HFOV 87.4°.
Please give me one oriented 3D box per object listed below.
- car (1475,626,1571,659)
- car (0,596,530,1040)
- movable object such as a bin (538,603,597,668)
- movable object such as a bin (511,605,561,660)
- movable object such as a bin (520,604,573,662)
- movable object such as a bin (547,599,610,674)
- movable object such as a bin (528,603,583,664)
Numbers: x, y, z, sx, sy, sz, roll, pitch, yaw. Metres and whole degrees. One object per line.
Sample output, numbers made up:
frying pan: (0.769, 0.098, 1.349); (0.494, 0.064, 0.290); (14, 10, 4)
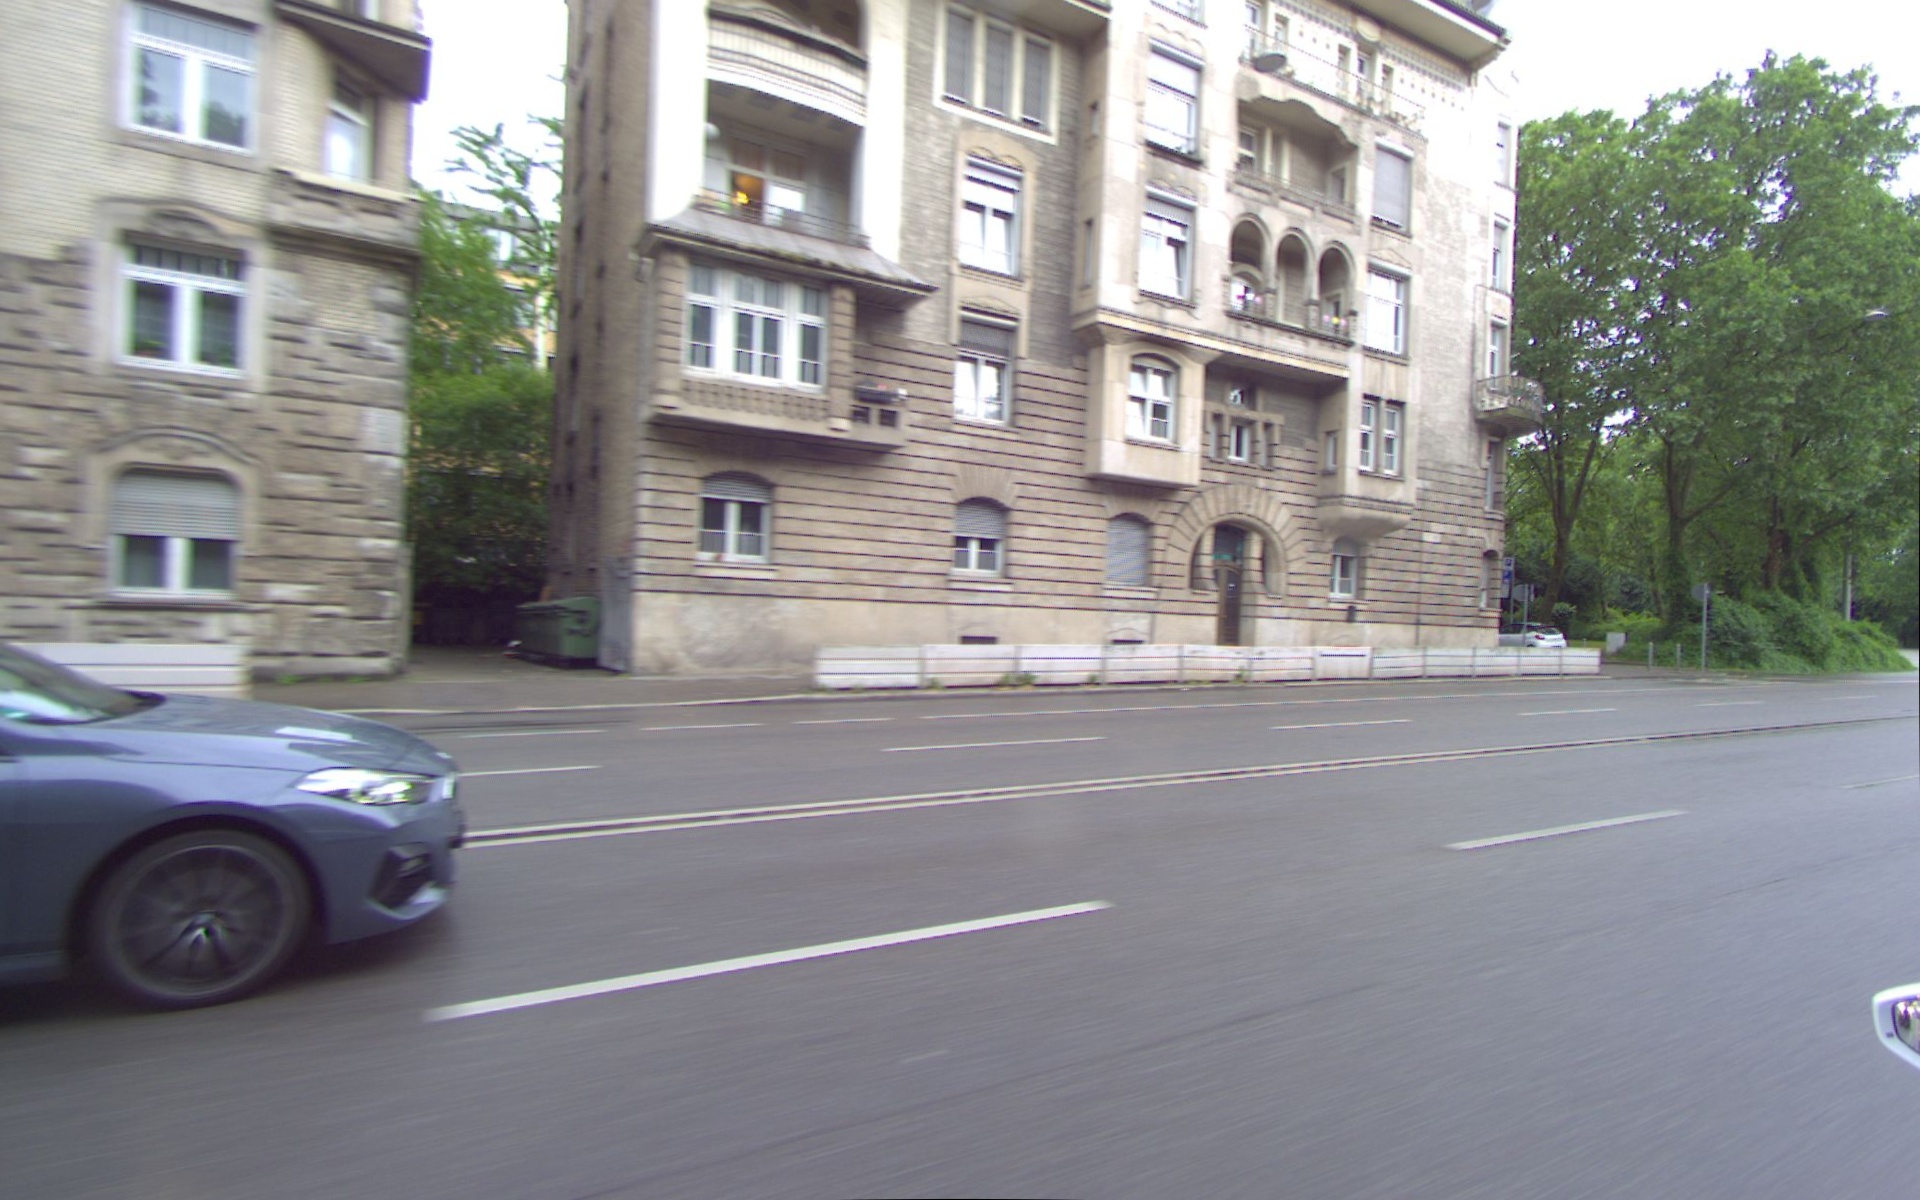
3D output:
car: (25.116, 1.867, 44.939); (1.752, 1.394, 3.490); (0, -1, -20)
car: (-4.089, 0.690, 3.615); (4.487, 1.434, 1.657); (2, -1, -31)
movable object such as a bin: (-8.577, 0.764, 21.940); (1.011, 1.350, 1.019); (-2, 1, -32)
movable object such as a bin: (-10.832, 0.813, 25.659); (1.011, 1.350, 1.019); (-2, 1, -32)
movable object such as a bin: (-10.114, 0.793, 24.557); (1.011, 1.350, 1.019); (-2, 1, -32)
movable object such as a bin: (-7.831, 0.728, 20.612); (1.011, 1.454, 1.019); (-2, 1, -32)
movable object such as a bin: (-9.370, 0.761, 23.249); (1.011, 1.350, 1.019); (-2, 1, -32)
